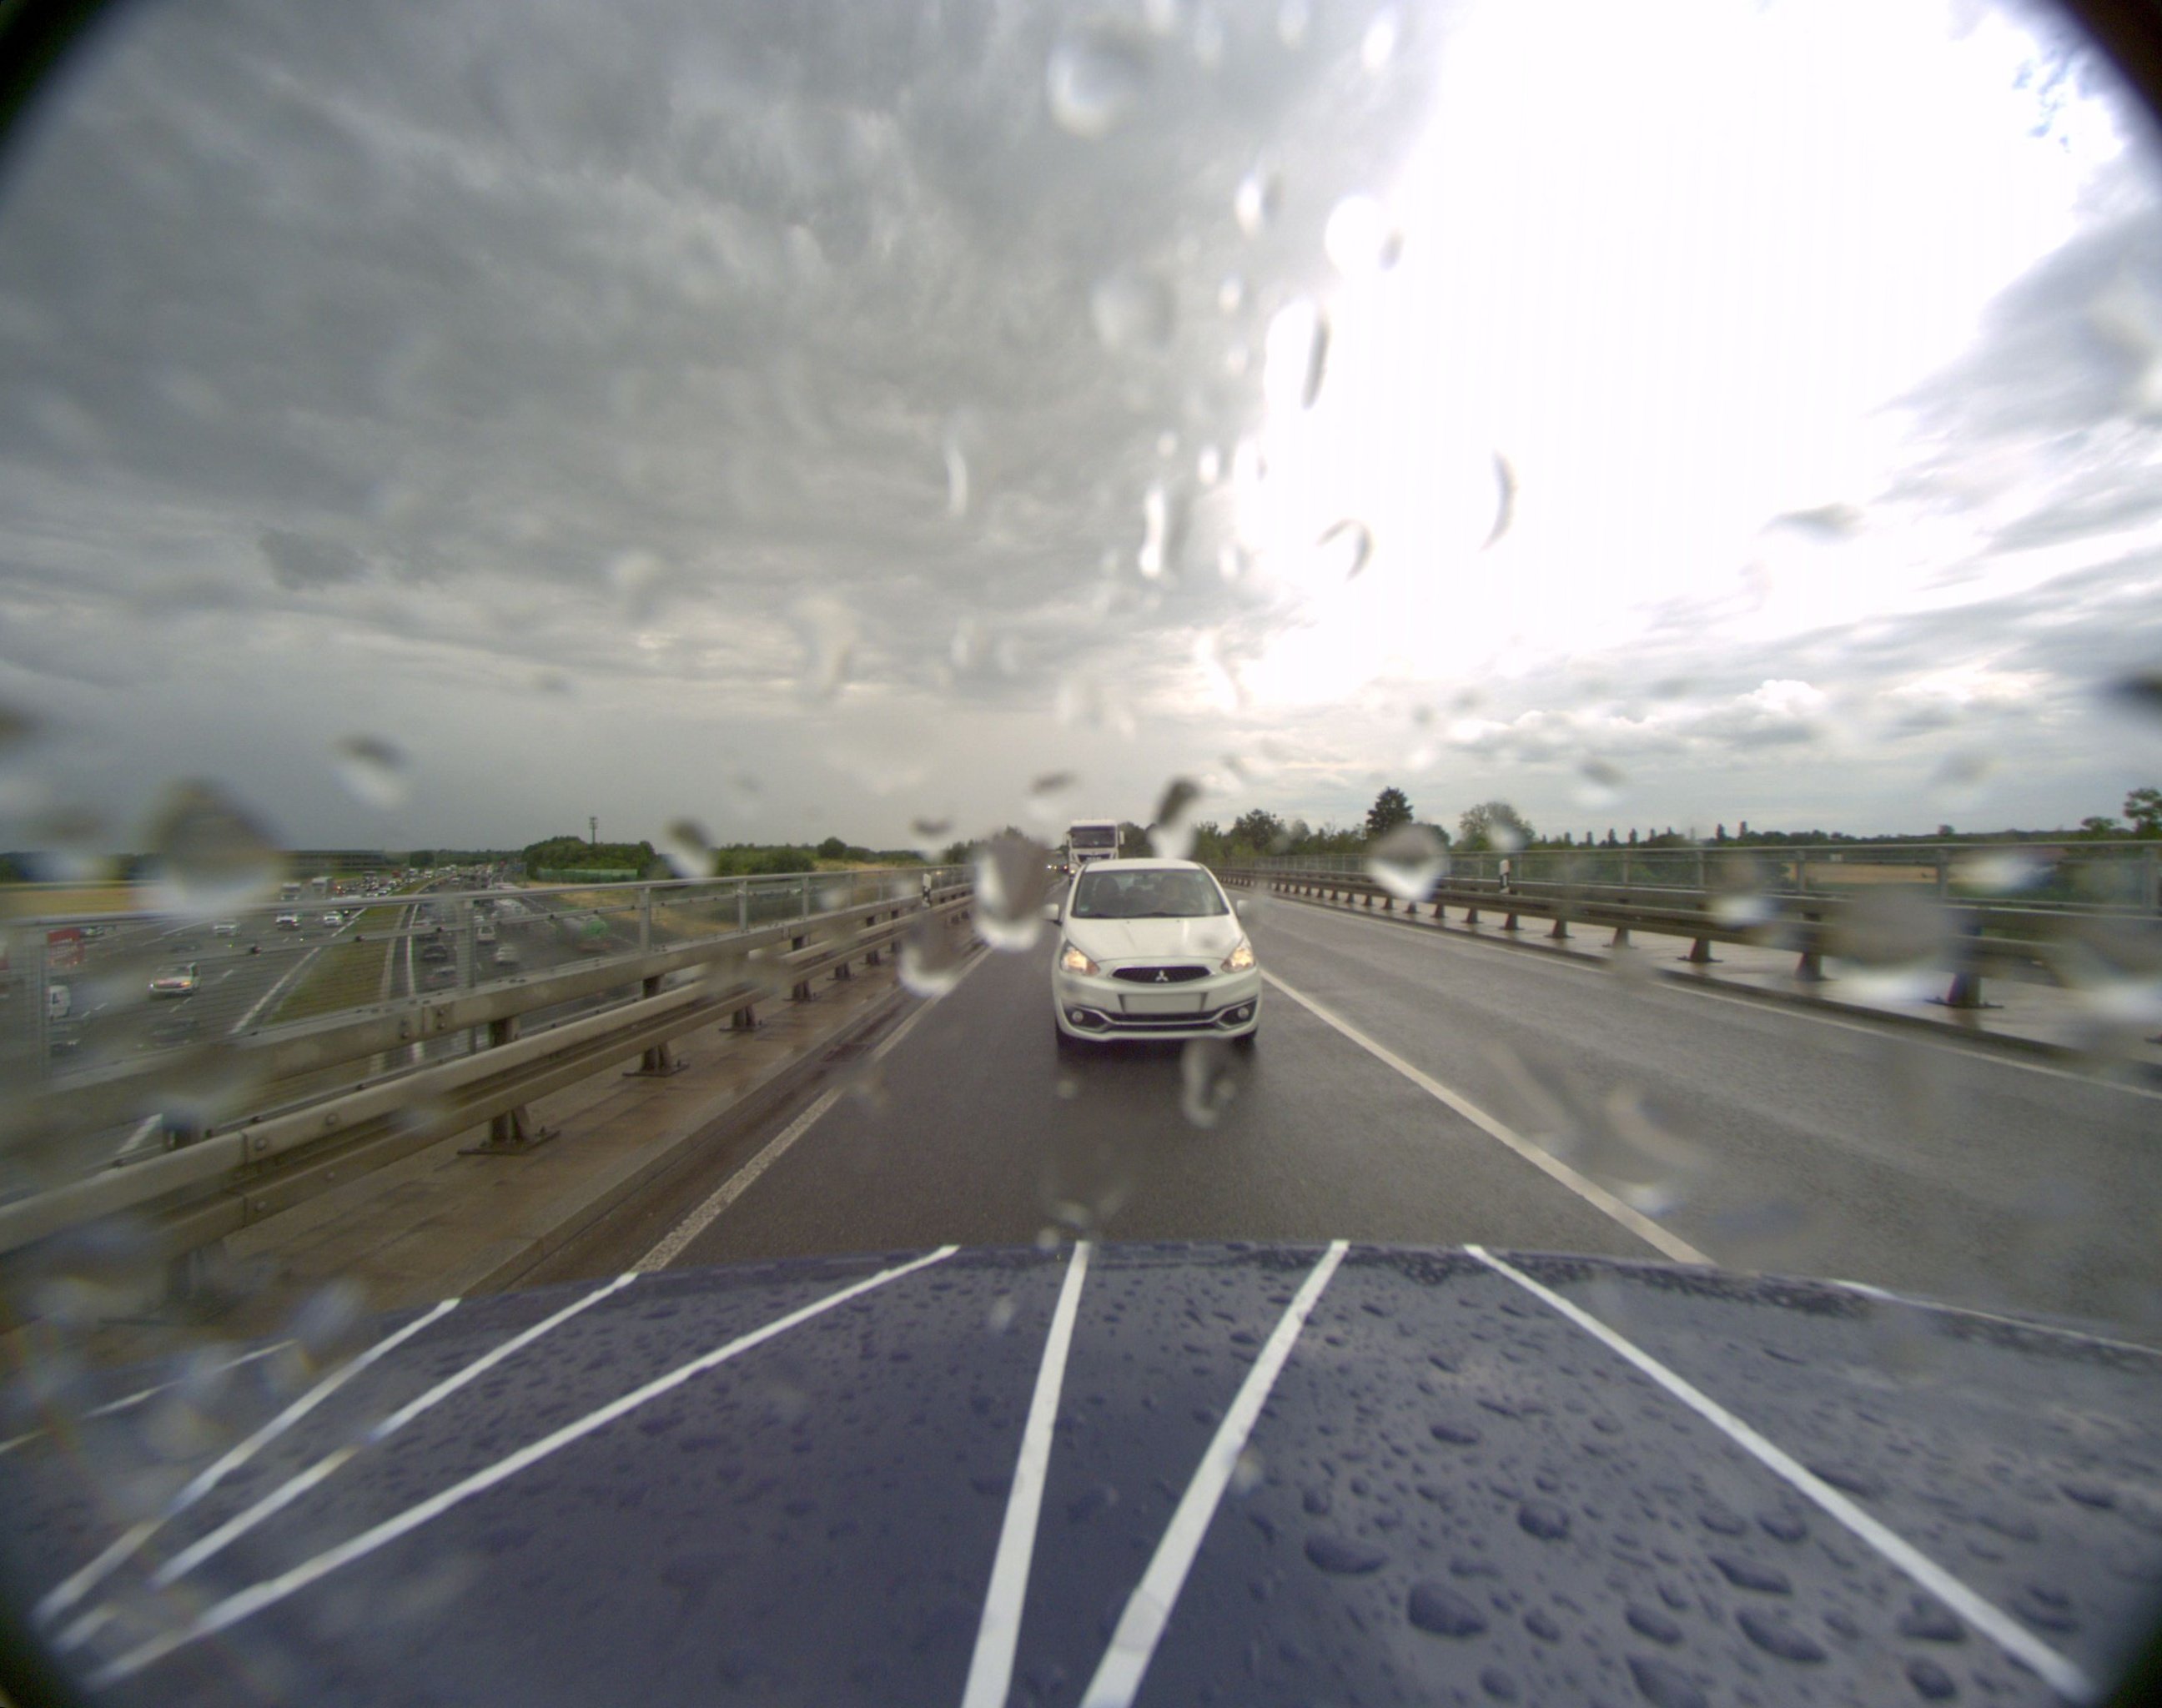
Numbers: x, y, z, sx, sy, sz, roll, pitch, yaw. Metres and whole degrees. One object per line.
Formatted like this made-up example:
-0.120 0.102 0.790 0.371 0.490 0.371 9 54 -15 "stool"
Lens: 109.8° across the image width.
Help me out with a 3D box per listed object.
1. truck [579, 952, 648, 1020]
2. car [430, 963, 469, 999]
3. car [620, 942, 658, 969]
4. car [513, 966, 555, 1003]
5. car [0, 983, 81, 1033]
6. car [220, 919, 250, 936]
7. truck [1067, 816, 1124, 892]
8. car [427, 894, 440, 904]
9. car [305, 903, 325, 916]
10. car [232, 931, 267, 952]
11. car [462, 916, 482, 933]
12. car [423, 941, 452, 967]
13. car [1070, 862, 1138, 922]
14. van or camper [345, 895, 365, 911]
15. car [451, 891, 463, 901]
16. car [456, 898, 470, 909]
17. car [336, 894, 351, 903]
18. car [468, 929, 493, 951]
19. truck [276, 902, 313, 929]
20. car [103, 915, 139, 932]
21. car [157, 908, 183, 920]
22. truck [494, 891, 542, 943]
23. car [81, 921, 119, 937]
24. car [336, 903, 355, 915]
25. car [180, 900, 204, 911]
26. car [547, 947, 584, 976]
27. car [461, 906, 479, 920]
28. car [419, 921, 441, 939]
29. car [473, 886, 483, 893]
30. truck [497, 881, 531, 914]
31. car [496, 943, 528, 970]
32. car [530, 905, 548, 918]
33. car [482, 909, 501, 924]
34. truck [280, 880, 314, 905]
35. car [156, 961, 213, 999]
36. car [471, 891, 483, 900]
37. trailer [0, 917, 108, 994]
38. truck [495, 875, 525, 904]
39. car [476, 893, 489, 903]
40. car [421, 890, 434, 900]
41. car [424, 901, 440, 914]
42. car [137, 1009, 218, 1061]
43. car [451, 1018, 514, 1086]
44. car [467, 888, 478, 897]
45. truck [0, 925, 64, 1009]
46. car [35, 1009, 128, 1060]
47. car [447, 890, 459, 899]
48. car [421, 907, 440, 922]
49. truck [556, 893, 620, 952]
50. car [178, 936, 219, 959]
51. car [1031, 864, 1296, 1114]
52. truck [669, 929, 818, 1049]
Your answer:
-29.949 8.240 48.476 2.216 2.948 9.283 -3 1 -40 "truck"
-42.583 8.499 51.225 1.860 1.659 4.712 -3 1 -40 "car"
-37.065 8.498 63.689 1.860 1.659 4.712 -3 1 -40 "car"
-36.381 8.599 50.507 1.860 1.659 4.712 -3 1 -40 "car"
-57.615 8.454 42.020 1.818 1.873 4.711 -3 1 -41 "car"
-104.038 8.962 93.487 1.818 1.659 4.711 -3 1 -41 "car"
0.658 -0.187 40.753 2.631 3.537 8.473 -2 3 -1 "truck"
-127.814 8.841 150.073 1.860 1.764 4.712 -3 1 -40 "car"
-123.504 8.923 122.476 1.818 1.659 4.711 -3 1 -41 "car"
-85.278 8.957 77.984 1.818 1.659 4.711 -3 1 -41 "car"
-79.237 9.175 98.821 1.860 1.764 4.712 -3 1 -40 "car"
-56.696 8.762 66.941 1.860 1.659 4.712 -3 1 -40 "car"
0.591 0.976 21.251 1.675 1.366 4.129 -2 1 0 "car"
-132.178 8.848 138.361 2.063 2.436 7.310 -3 1 -40 "van or camper"
-131.015 8.841 159.574 1.860 1.764 4.712 -3 1 -40 "car"
-112.399 8.940 138.201 1.860 1.764 4.712 -3 1 -40 "car"
-154.498 9.260 159.222 1.860 1.659 4.712 -3 1 -40 "car"
-63.387 9.062 80.214 1.860 1.764 4.712 -3 1 -40 "car"
-109.294 8.477 105.717 2.601 3.161 8.373 -3 1 -40 "truck"
-122.049 8.812 96.672 1.860 1.659 4.712 -3 1 -40 "car"
-140.018 9.226 116.865 1.818 1.428 4.711 -3 1 -41 "car"
-69.539 7.575 93.629 3.302 5.411 15.588 -3 1 -41 "truck"
-113.975 8.674 88.283 1.818 1.428 4.711 -3 1 -42 "car"
-118.660 8.856 122.639 1.860 1.659 4.712 -3 1 -40 "car"
-147.129 8.501 125.750 1.818 1.428 4.711 -3 1 -41 "car"
-40.720 8.463 59.981 1.860 1.659 4.712 -3 1 -40 "car"
-90.376 8.655 112.373 1.860 1.764 4.712 -3 1 -40 "car"
-79.165 9.177 92.450 1.860 1.764 4.712 -3 1 -40 "car"
-156.197 9.174 196.815 1.860 1.764 4.712 -3 1 -40 "car"
-101.013 7.560 135.130 3.499 5.321 15.588 -3 1 -41 "truck"
-48.969 8.768 65.352 1.860 1.659 4.712 -3 1 -40 "car"
-84.601 8.981 118.558 1.860 1.764 4.712 -3 1 -40 "car"
-84.627 8.984 108.988 1.860 1.764 4.712 -3 1 -40 "car"
-166.446 8.092 161.404 2.799 4.871 12.723 -3 1 -37 "truck"
-61.619 8.609 52.309 1.818 1.836 4.711 -3 1 -41 "car"
-133.420 9.208 167.740 1.860 1.764 4.712 -3 1 -40 "car"
-75.799 7.277 56.175 2.691 4.602 9.882 -3 1 -41 "trailer"
-115.976 7.049 154.140 3.499 5.321 15.588 -3 1 -41 "truck"
-122.102 8.902 154.881 1.860 1.764 4.712 -3 1 -40 "car"
-149.389 9.371 173.625 2.003 2.002 3.989 -6 3 -43 "car"
-102.147 8.452 119.600 1.860 1.764 4.712 -3 1 -40 "car"
-44.181 8.806 37.263 1.818 1.428 4.711 -3 1 -41 "car"
-25.396 8.277 32.196 1.860 1.659 4.712 -3 1 -40 "car"
-145.425 9.194 181.506 1.860 1.764 4.712 -3 1 -40 "car"
-69.379 7.204 48.769 2.691 4.599 9.727 -3 1 -41 "truck"
-48.855 8.772 37.247 1.818 1.428 4.711 -3 1 -41 "car"
-144.874 9.301 175.253 1.860 1.764 4.712 -3 1 -40 "car"
-93.108 8.679 108.789 1.860 1.764 4.712 -3 1 -40 "car"
-52.039 6.960 79.898 3.302 5.135 15.588 -3 1 -41 "truck"
-84.245 8.877 72.592 1.818 1.659 4.711 -3 1 -41 "car"
0.552 0.911 7.027 1.675 1.476 4.129 -2 1 0 "car"
-19.940 7.226 43.801 3.610 4.511 15.588 -3 1 -39 "truck"
